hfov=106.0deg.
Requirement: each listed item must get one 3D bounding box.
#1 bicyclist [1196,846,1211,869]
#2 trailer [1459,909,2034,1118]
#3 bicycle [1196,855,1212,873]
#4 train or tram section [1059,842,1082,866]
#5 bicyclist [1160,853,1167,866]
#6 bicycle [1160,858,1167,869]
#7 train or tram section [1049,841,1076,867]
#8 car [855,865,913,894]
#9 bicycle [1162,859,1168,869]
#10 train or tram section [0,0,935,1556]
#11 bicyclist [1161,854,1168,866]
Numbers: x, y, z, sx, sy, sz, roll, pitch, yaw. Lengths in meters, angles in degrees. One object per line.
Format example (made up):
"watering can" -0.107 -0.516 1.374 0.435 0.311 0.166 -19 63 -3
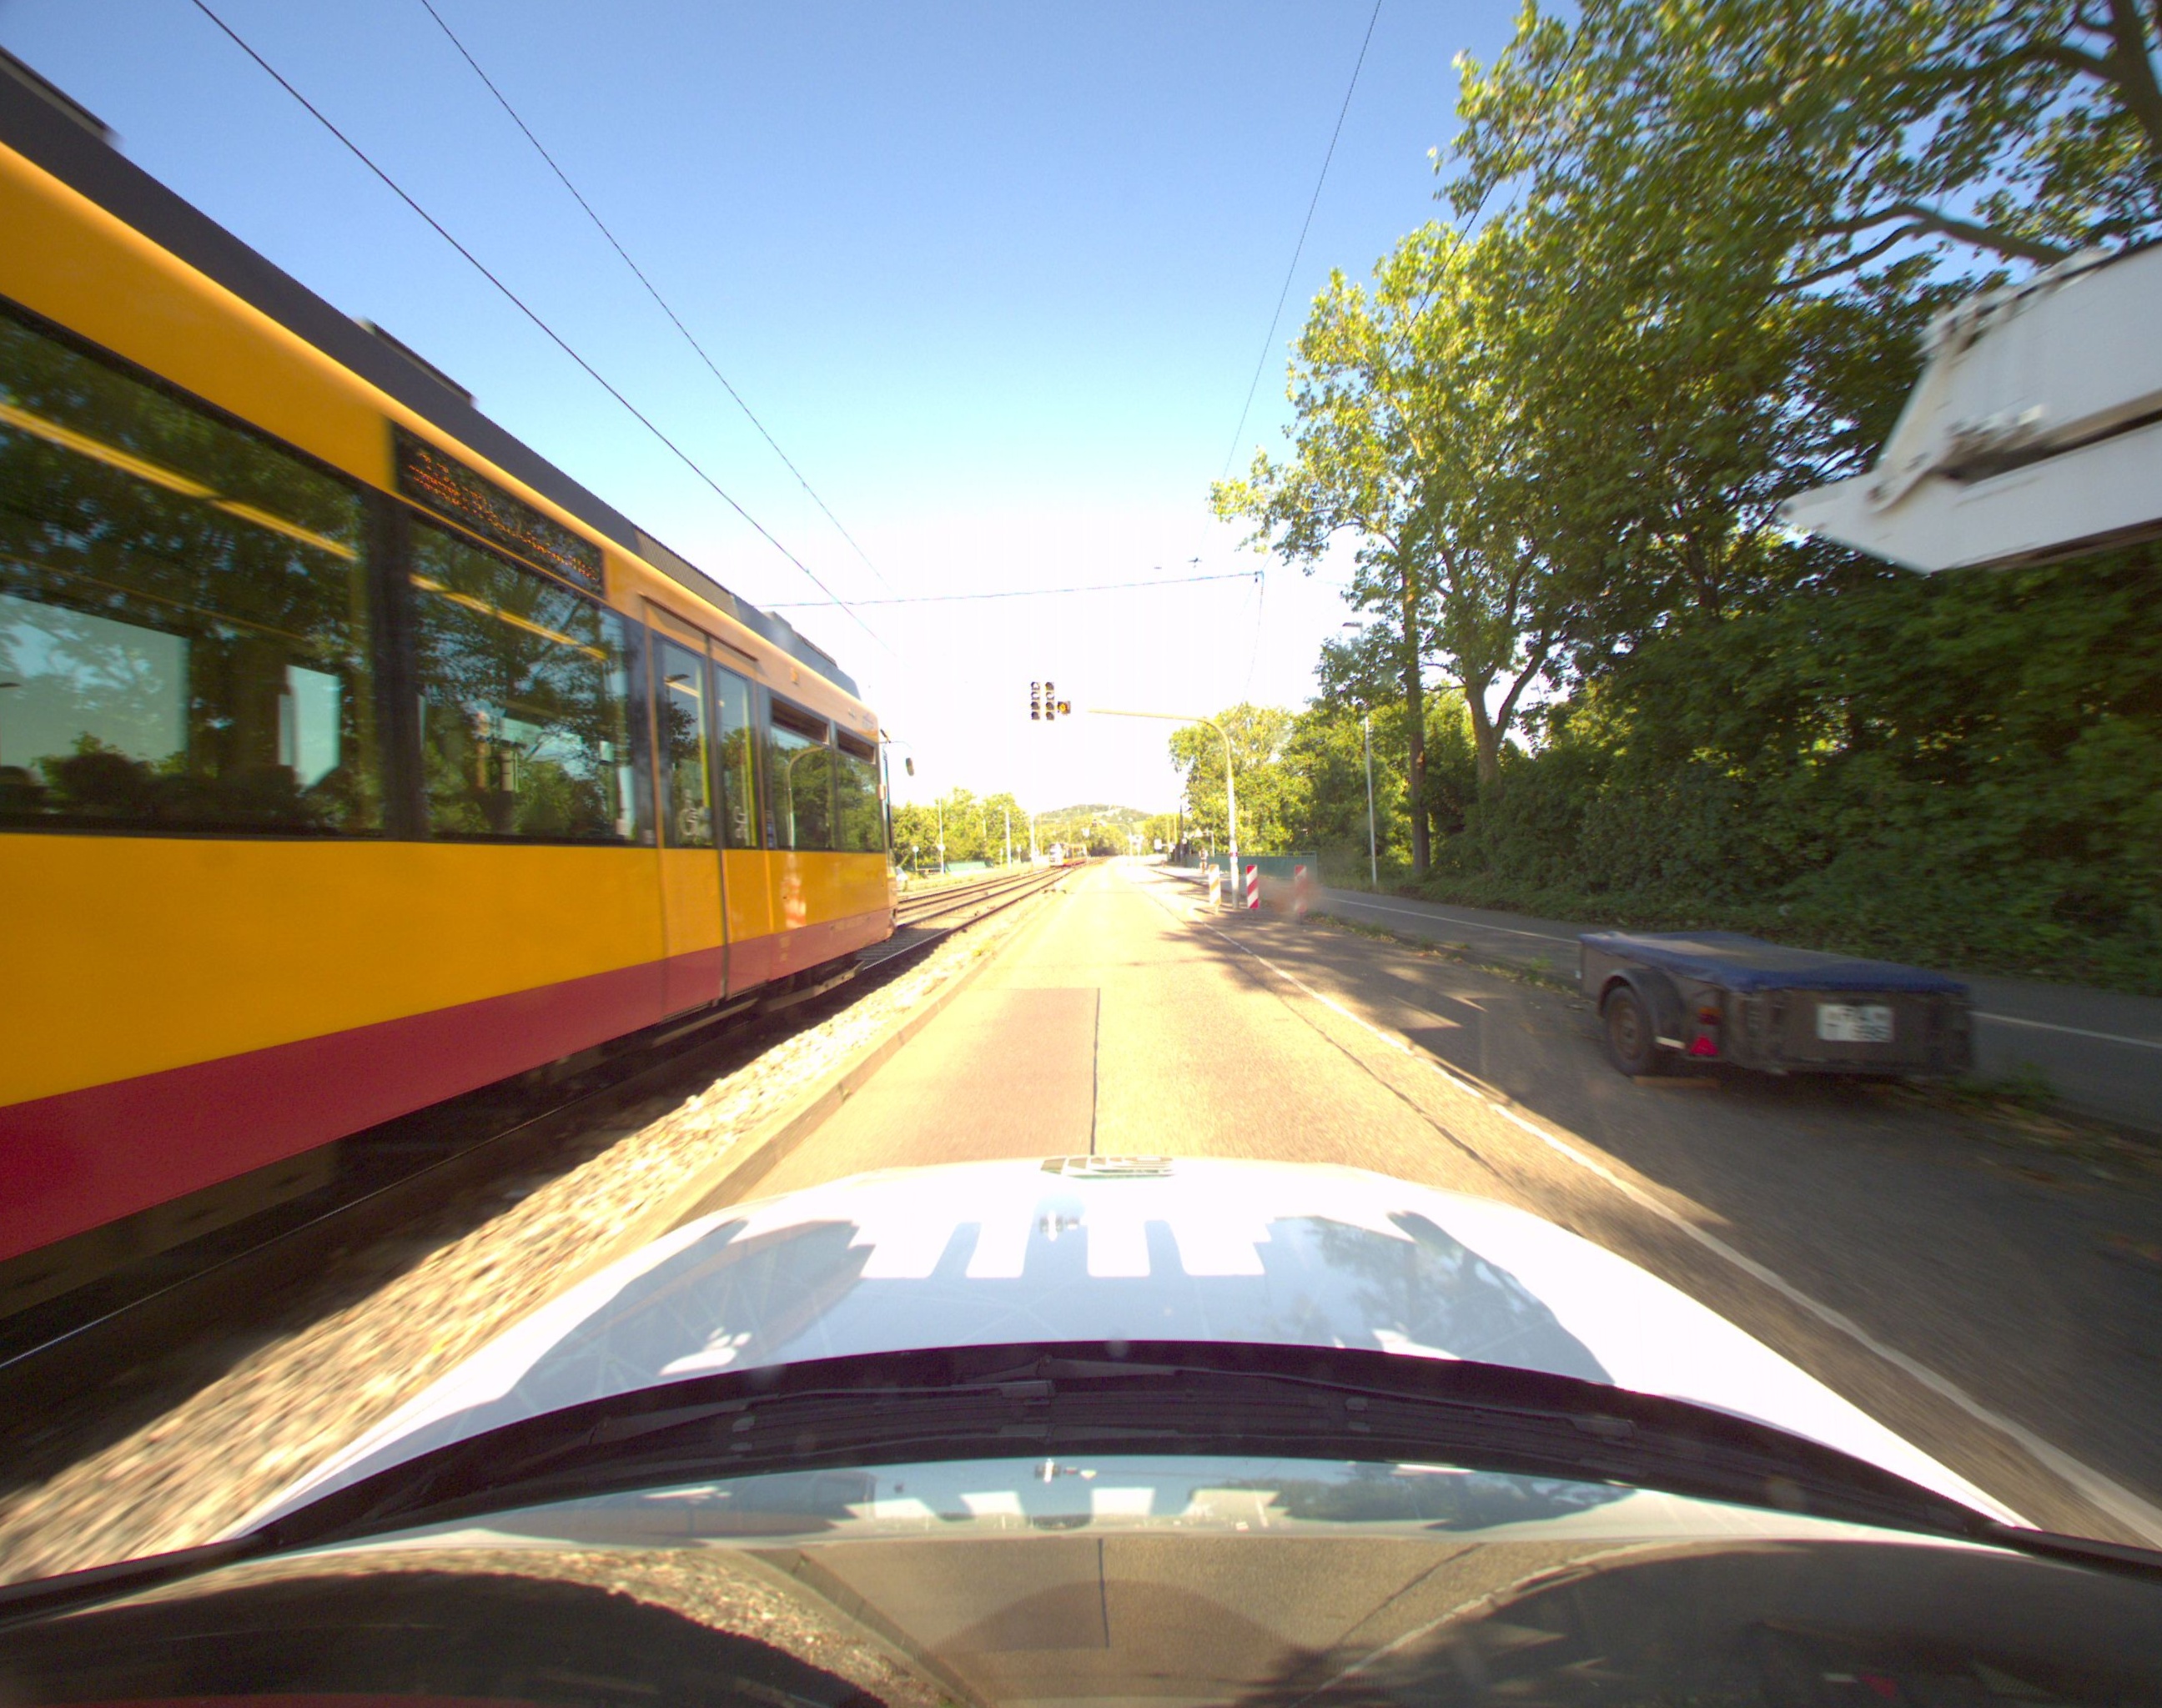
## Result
"bicyclist" 8.284 0.211 55.010 0.821 1.520 0.975 -2 0 1
"trailer" 4.434 0.990 6.188 1.570 0.859 3.503 -2 0 2
"bicycle" 8.307 0.639 55.064 0.725 1.176 2.695 -2 0 2
"train or tram section" -1.603 0.000 130.719 2.631 3.476 10.847 -2 0 5
"bicyclist" 8.760 0.557 86.653 0.602 1.379 0.975 -2 0 1
"bicycle" 8.777 0.999 86.642 0.513 1.042 1.976 -2 0 2
"train or tram section" -2.612 0.039 119.482 2.631 3.567 10.847 -2 0 5
"car" -10.706 1.352 44.522 1.760 1.413 4.914 -2 0 2
"bicycle" 9.755 1.165 94.999 0.537 1.042 1.976 -2 0 2
"train or tram section" -3.757 -0.408 5.599 2.710 4.089 12.816 -3 0 1
"bicyclist" 9.747 0.722 95.004 0.602 1.379 0.975 -2 0 1
